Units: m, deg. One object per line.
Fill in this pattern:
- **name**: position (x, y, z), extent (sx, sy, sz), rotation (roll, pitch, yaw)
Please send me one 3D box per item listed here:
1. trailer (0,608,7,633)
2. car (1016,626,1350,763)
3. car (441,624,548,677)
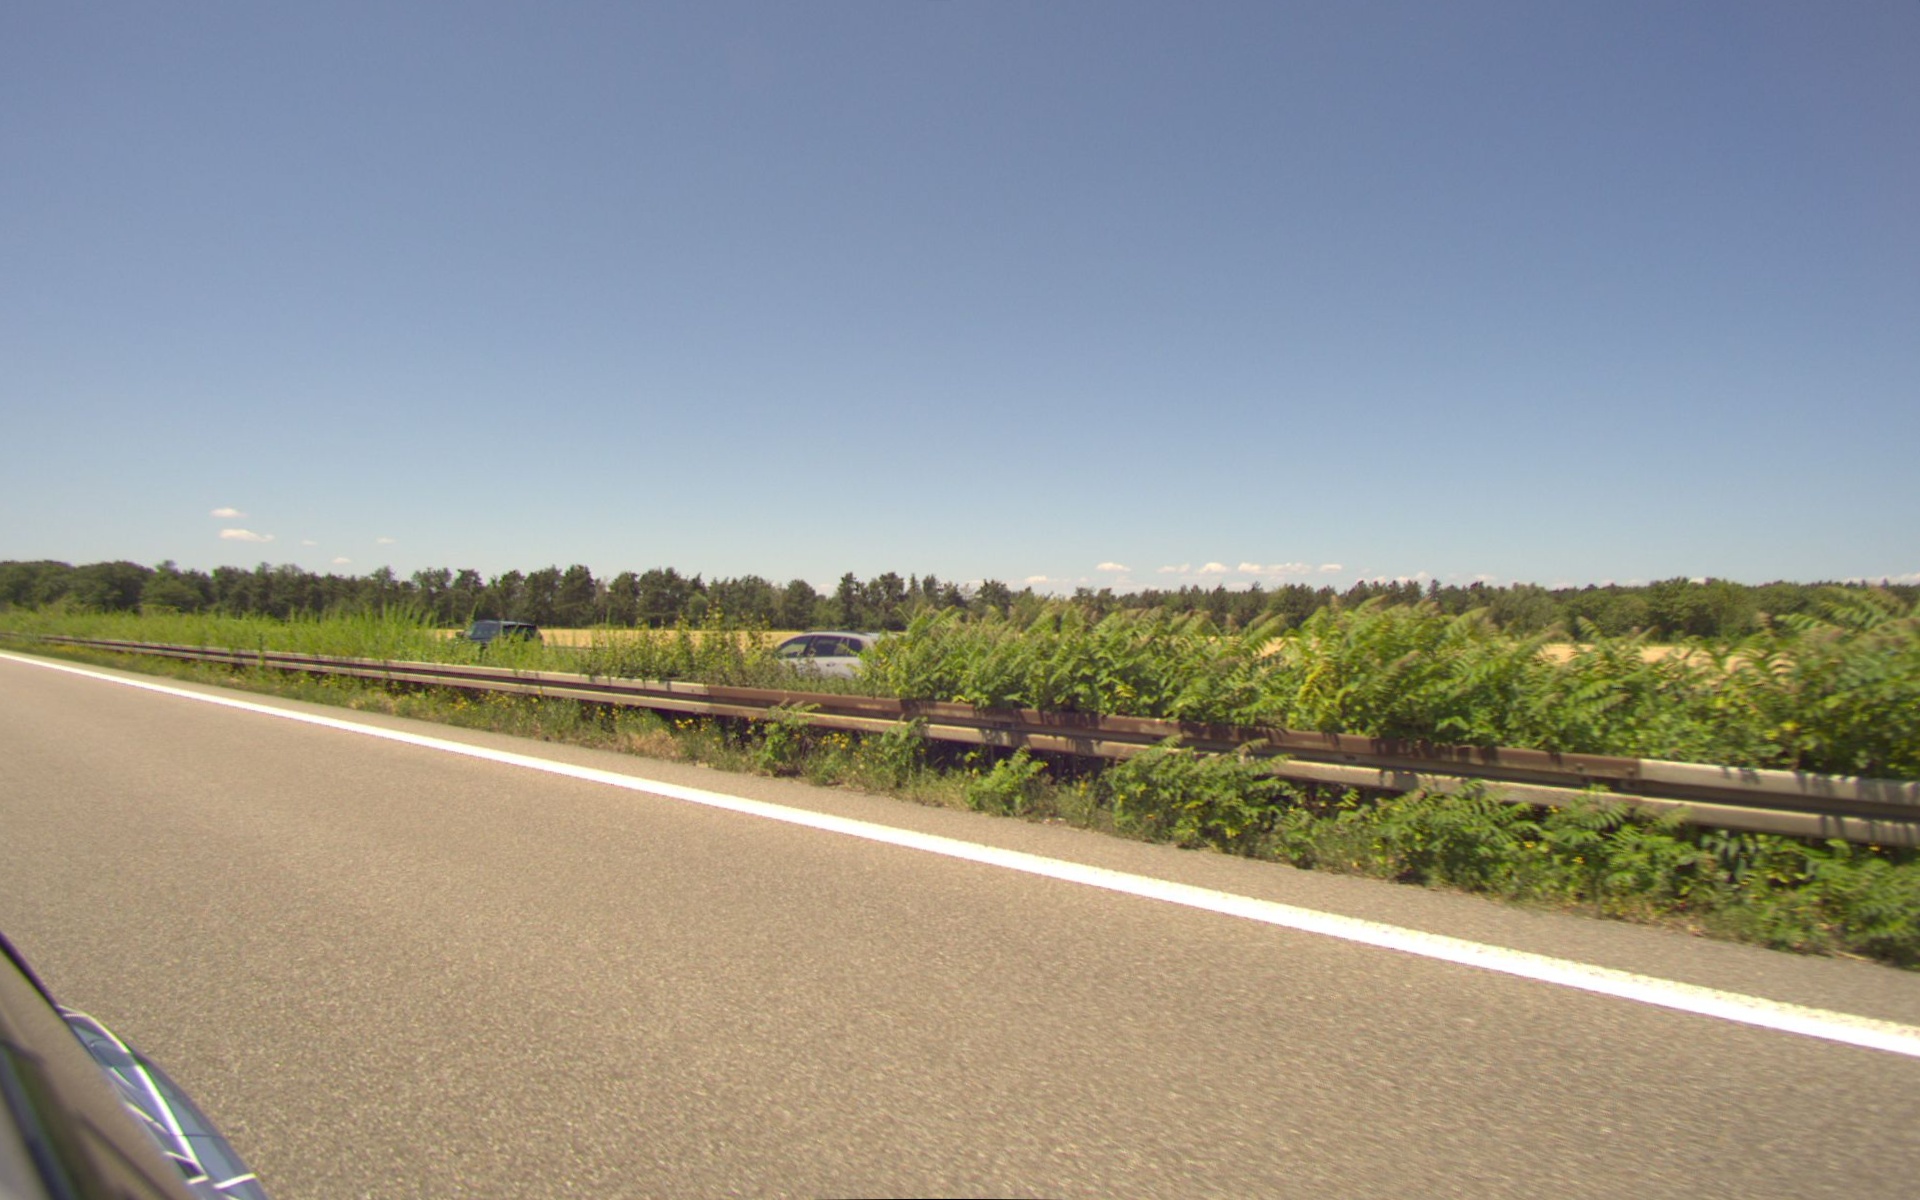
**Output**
- **trailer**: position (-148.865, 3.140, 154.443), extent (14.369, 3.726, 3.316), rotation (-1, -1, 40)
- **car**: position (2.862, 1.132, 13.482), extent (3.998, 1.552, 1.790), rotation (-1, -3, 42)
- **car**: position (-15.738, 1.670, 34.139), extent (3.998, 1.697, 1.786), rotation (-1, -3, 42)
